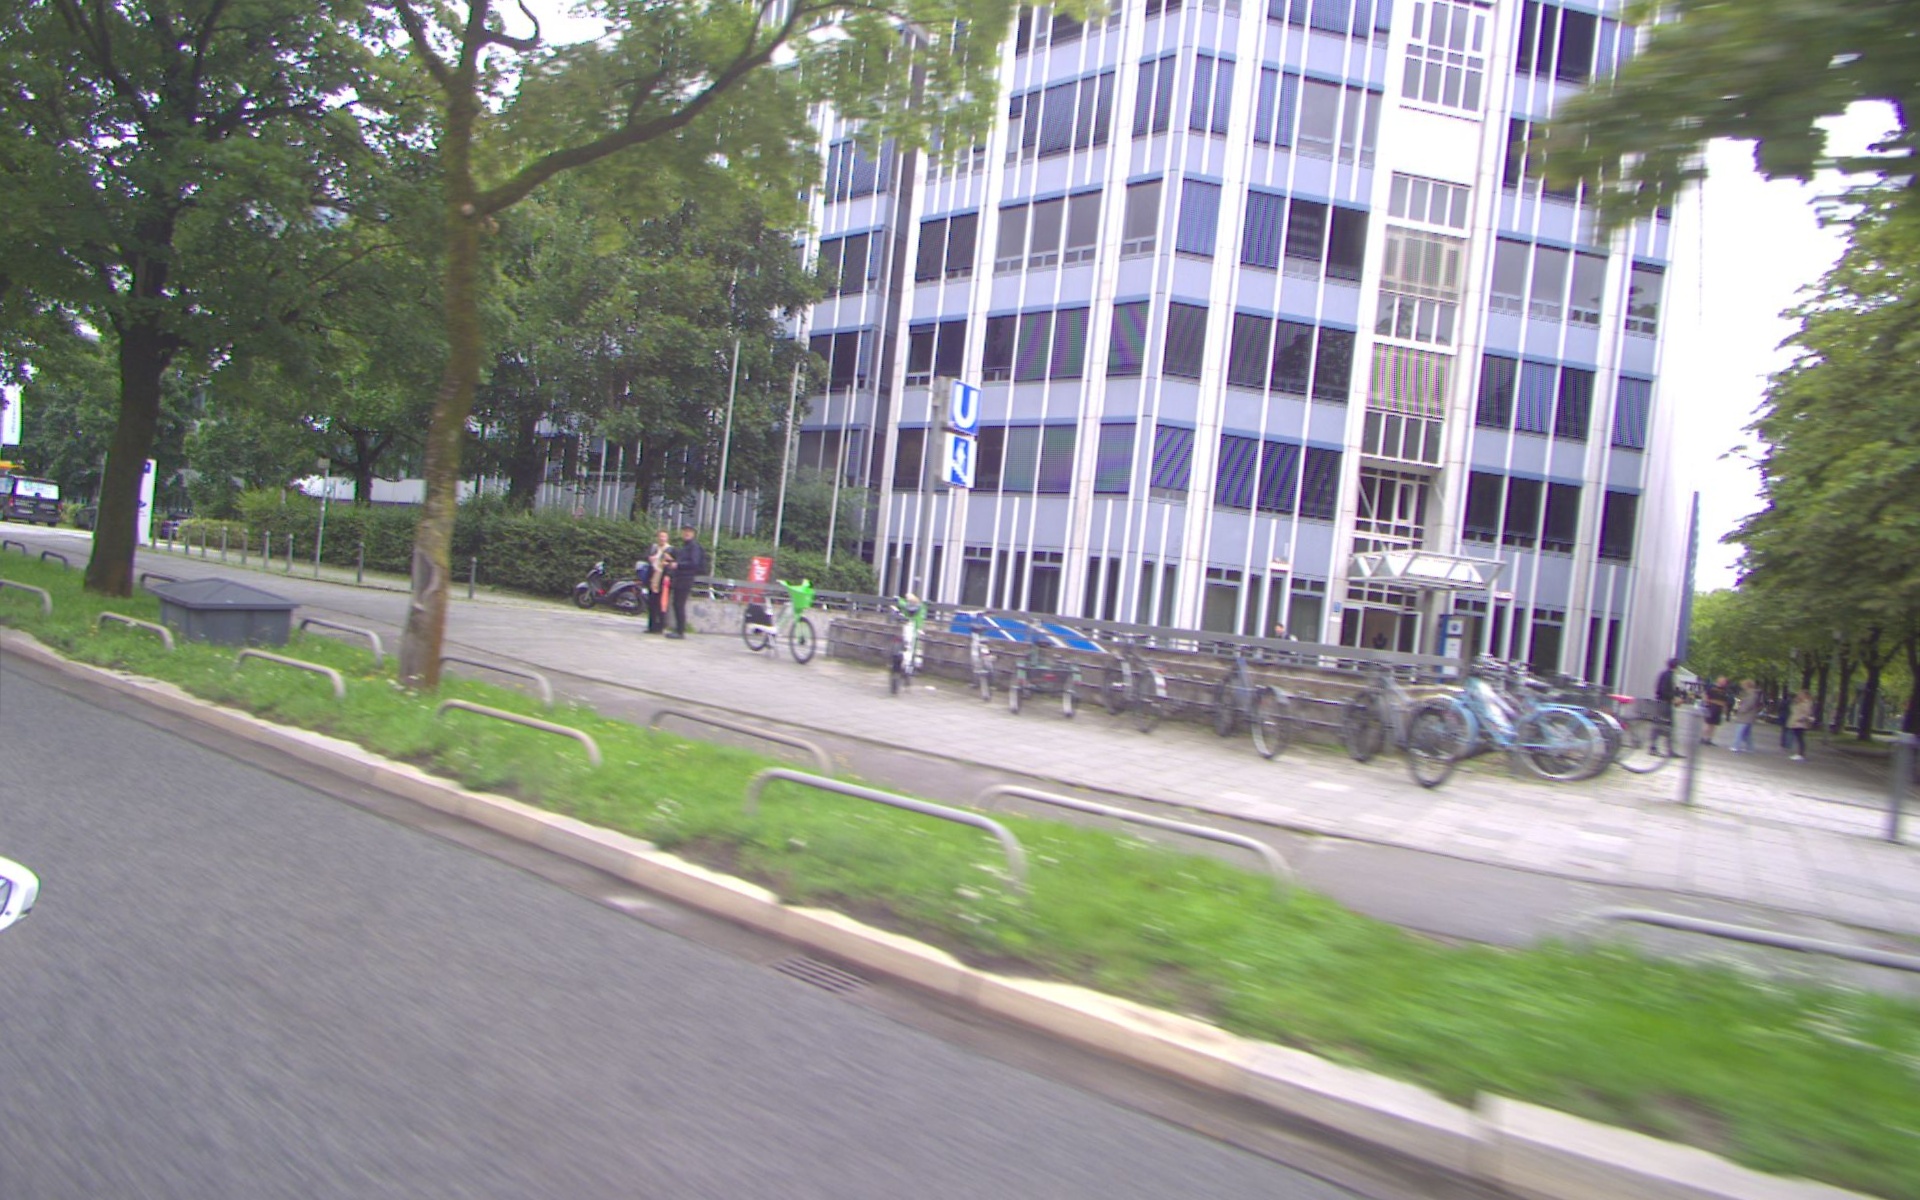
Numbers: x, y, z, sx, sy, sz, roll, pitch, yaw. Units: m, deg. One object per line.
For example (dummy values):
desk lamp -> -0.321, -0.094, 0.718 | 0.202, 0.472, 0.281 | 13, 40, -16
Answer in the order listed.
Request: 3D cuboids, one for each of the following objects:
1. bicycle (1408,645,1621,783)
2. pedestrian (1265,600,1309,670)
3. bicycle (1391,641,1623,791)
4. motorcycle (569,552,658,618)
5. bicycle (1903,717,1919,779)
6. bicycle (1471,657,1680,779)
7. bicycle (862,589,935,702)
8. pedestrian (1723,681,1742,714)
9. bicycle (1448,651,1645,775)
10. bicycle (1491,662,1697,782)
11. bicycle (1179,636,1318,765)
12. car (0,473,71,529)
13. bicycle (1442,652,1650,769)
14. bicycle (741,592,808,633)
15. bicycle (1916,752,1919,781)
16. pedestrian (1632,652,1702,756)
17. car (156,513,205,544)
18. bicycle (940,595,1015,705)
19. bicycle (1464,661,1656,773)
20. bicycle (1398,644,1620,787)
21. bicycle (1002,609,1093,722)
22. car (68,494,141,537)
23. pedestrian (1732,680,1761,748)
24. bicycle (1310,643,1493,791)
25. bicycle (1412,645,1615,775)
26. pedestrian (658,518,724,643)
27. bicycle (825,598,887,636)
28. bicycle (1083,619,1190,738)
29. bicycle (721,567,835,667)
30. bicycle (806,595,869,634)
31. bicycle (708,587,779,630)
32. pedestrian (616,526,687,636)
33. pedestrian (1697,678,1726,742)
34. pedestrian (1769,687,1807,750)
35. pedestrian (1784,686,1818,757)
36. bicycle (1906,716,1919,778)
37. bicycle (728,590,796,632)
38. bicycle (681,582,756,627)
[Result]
bicycle -> 6.107, 1.220, 11.152 | 1.923, 1.204, 0.488 | 7, 1, 34
pedestrian -> 8.307, 0.875, 25.574 | 0.642, 1.700, 0.698 | 6, 1, -9
bicycle -> 5.515, 1.127, 10.225 | 1.923, 1.204, 0.488 | 7, 1, 34
motorcycle -> -8.243, -0.363, 23.931 | 2.036, 1.335, 0.550 | 6, 1, 22
bicycle -> 21.453, 3.273, 21.186 | 2.137, 1.276, 0.553 | 6, 1, 26
bicycle -> 7.682, 1.444, 12.669 | 2.104, 1.204, 0.446 | 6, 1, 26
bicycle -> -0.737, 0.522, 12.670 | 0.586, 1.205, 1.952 | 6, 3, 3
pedestrian -> 41.020, 5.185, 53.407 | 0.477, 1.679, 0.482 | 5, 1, -25
bicycle -> 7.096, 1.335, 12.242 | 1.923, 1.204, 0.445 | 7, 1, 34
bicycle -> 8.139, 1.542, 13.036 | 2.104, 1.204, 0.512 | 6, 1, 26
bicycle -> 3.021, 1.014, 10.759 | 0.594, 1.104, 2.037 | 3, 2, -8
car -> -46.530, -4.958, 49.860 | 6.170, 2.336, 2.264 | 6, 1, 35
bicycle -> 8.394, 1.556, 14.544 | 2.434, 1.311, 0.509 | 6, 1, 26
bicycle -> -4.894, 0.325, 26.550 | 1.744, 0.864, 0.559 | 8, 2, 32
bicycle -> 20.631, 3.186, 20.132 | 1.986, 1.277, 0.509 | 6, 1, 26
pedestrian -> 12.999, 1.903, 18.497 | 0.684, 1.795, 0.760 | 5, 2, -43
car -> -42.465, -3.887, 54.848 | 1.772, 1.391, 3.928 | 7, -1, -35
bicycle -> 0.189, 0.593, 12.926 | 0.570, 1.124, 1.948 | 6, 4, -8
bicycle -> 8.163, 1.567, 13.796 | 2.104, 1.204, 0.578 | 6, 1, 26
bicycle -> 5.782, 1.181, 10.670 | 1.923, 1.204, 0.488 | 7, 1, 34
bicycle -> 1.032, 0.755, 12.340 | 0.587, 1.098, 1.949 | 6, 3, -8
car -> -45.027, -4.443, 52.921 | 4.402, 1.841, 1.842 | 6, 1, 35
pedestrian -> 18.879, 2.744, 24.157 | 0.307, 1.592, 0.349 | 5, 2, -40
bicycle -> 4.233, 1.076, 9.846 | 0.570, 1.114, 2.027 | 4, 2, -8
bicycle -> 6.396, 1.240, 11.687 | 1.923, 1.204, 0.488 | 7, 1, 34
pedestrian -> -4.332, -0.322, 16.177 | 0.647, 1.924, 0.742 | 5, 2, -36
bicycle -> -3.025, 0.502, 29.113 | 1.744, 0.864, 0.559 | 8, 2, 32
bicycle -> 1.982, 0.854, 11.578 | 0.570, 1.080, 1.949 | 4, 3, -8
bicycle -> -2.706, 0.227, 14.806 | 1.835, 1.244, 0.529 | 9, 5, 41
bicycle -> -3.474, 0.416, 28.413 | 1.744, 0.864, 0.559 | 8, 2, 32
bicycle -> -5.489, 0.205, 25.461 | 1.804, 0.864, 0.552 | 8, 2, 32
pedestrian -> -5.179, -0.324, 16.891 | 0.779, 1.736, 0.742 | 5, 2, -40
pedestrian -> 18.514, 2.711, 24.772 | 0.389, 1.510, 0.382 | 7, 2, 44
pedestrian -> 23.466, 3.359, 28.523 | 0.615, 1.679, 0.590 | 7, 1, 34
pedestrian -> 19.566, 2.813, 23.411 | 0.401, 1.592, 0.347 | 7, 1, 32
bicycle -> 20.973, 3.182, 20.768 | 1.920, 1.277, 0.509 | 6, 1, 26
bicycle -> -5.125, 0.273, 25.991 | 1.744, 0.864, 0.559 | 8, 2, 32
bicycle -> -5.964, 0.118, 24.799 | 1.804, 0.864, 0.683 | 8, 2, 32
